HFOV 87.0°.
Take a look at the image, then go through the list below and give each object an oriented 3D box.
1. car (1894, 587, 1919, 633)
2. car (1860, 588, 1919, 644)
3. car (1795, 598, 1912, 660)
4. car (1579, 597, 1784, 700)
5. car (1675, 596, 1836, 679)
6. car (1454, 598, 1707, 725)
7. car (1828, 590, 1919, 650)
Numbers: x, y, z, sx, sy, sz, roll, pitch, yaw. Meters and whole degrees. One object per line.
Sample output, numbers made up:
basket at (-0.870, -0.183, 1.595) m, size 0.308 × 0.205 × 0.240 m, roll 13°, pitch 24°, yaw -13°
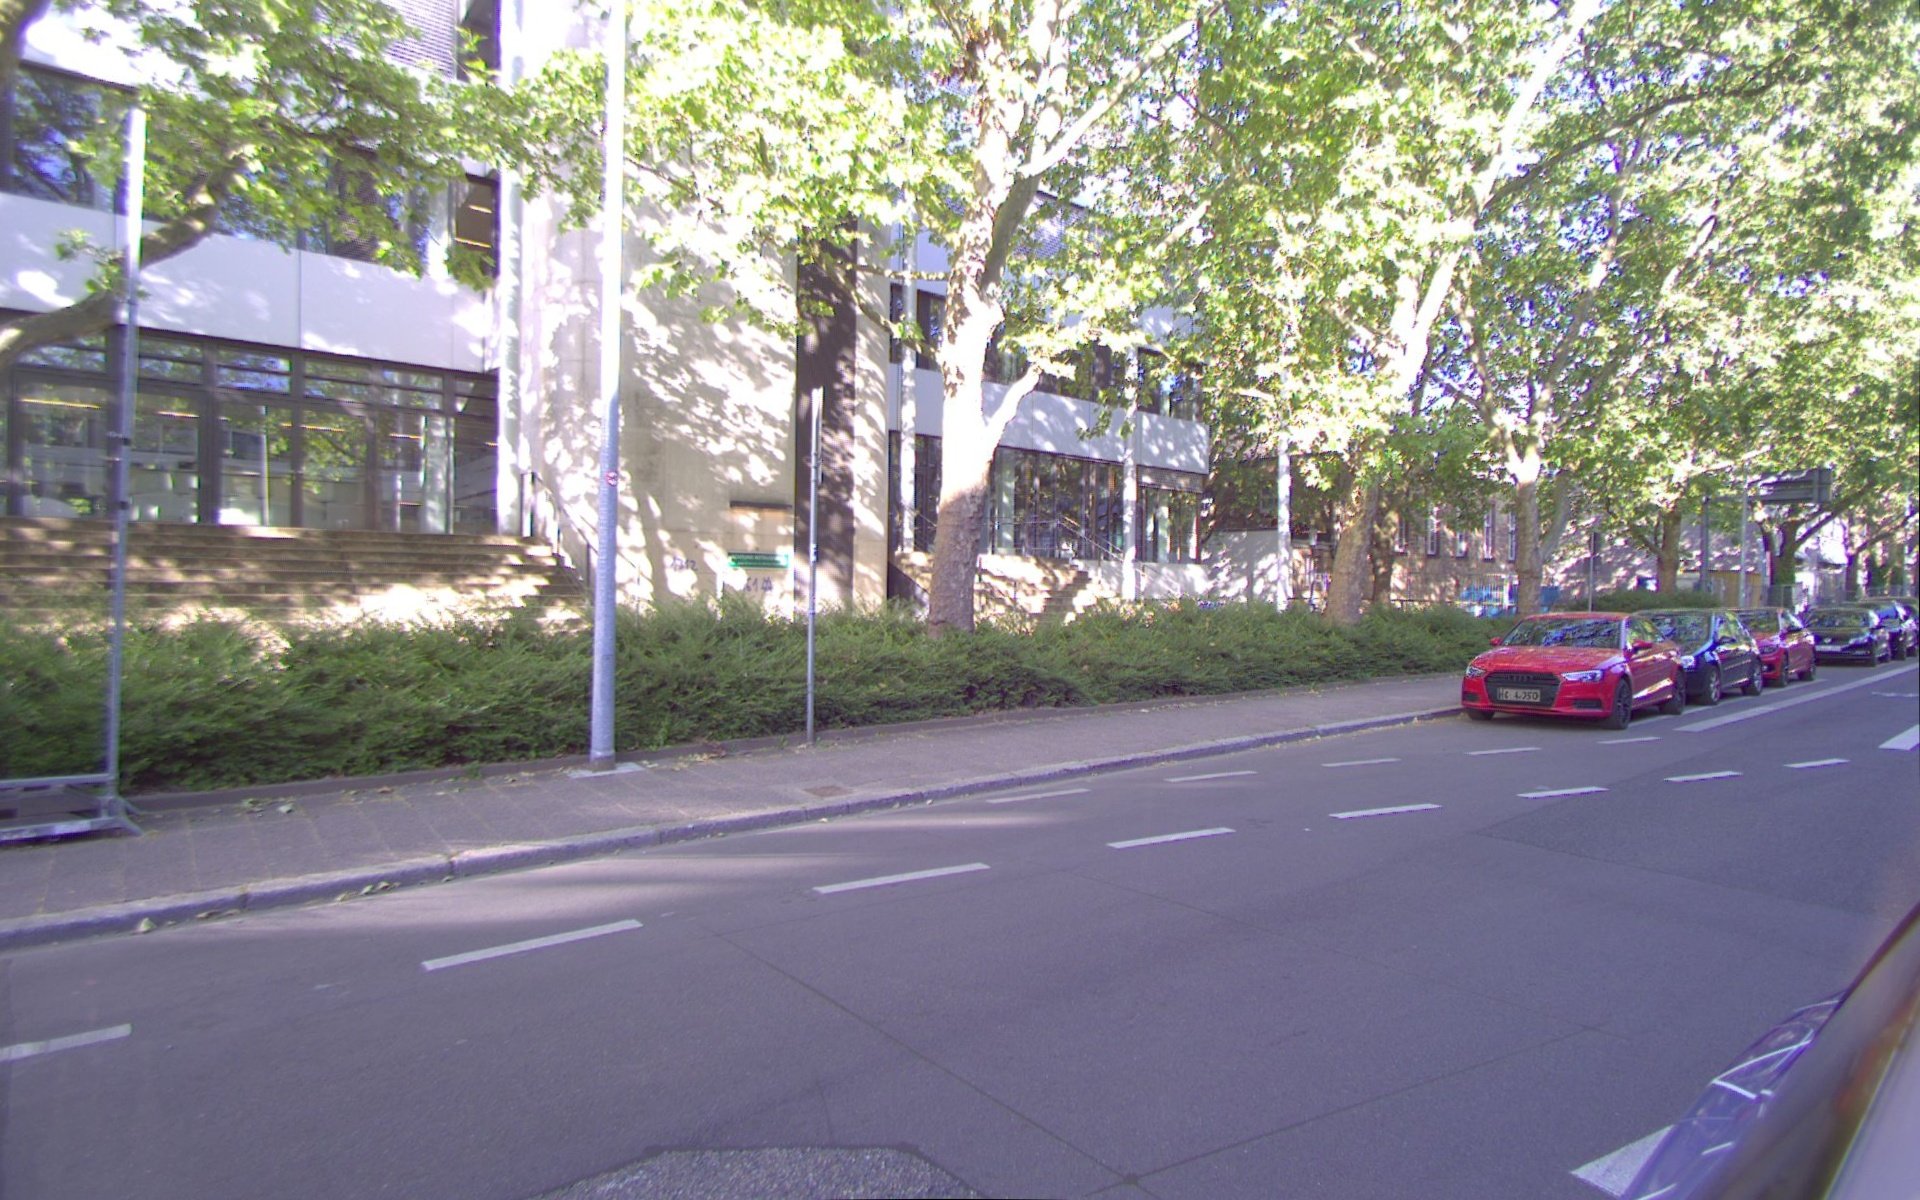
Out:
car at (35.735, 0.364, 37.075) m, size 4.004 × 1.638 × 1.797 m, roll 0°, pitch 1°, yaw -41°
car at (31.077, 0.483, 33.054) m, size 4.188 × 1.747 × 1.997 m, roll -1°, pitch 0°, yaw -41°
car at (22.978, 0.682, 25.995) m, size 3.930 × 1.456 × 1.744 m, roll 0°, pitch 1°, yaw -41°
car at (11.936, 0.699, 16.666) m, size 3.929 × 1.475 × 1.812 m, roll 0°, pitch 1°, yaw -40°
car at (15.794, 0.667, 20.028) m, size 3.930 × 1.456 × 1.789 m, roll 0°, pitch 1°, yaw -41°
car at (8.358, 0.698, 13.492) m, size 4.101 × 1.443 × 1.773 m, roll 0°, pitch -1°, yaw -42°
car at (26.642, 0.526, 29.193) m, size 4.158 × 1.601 × 1.847 m, roll 0°, pitch 1°, yaw -41°
